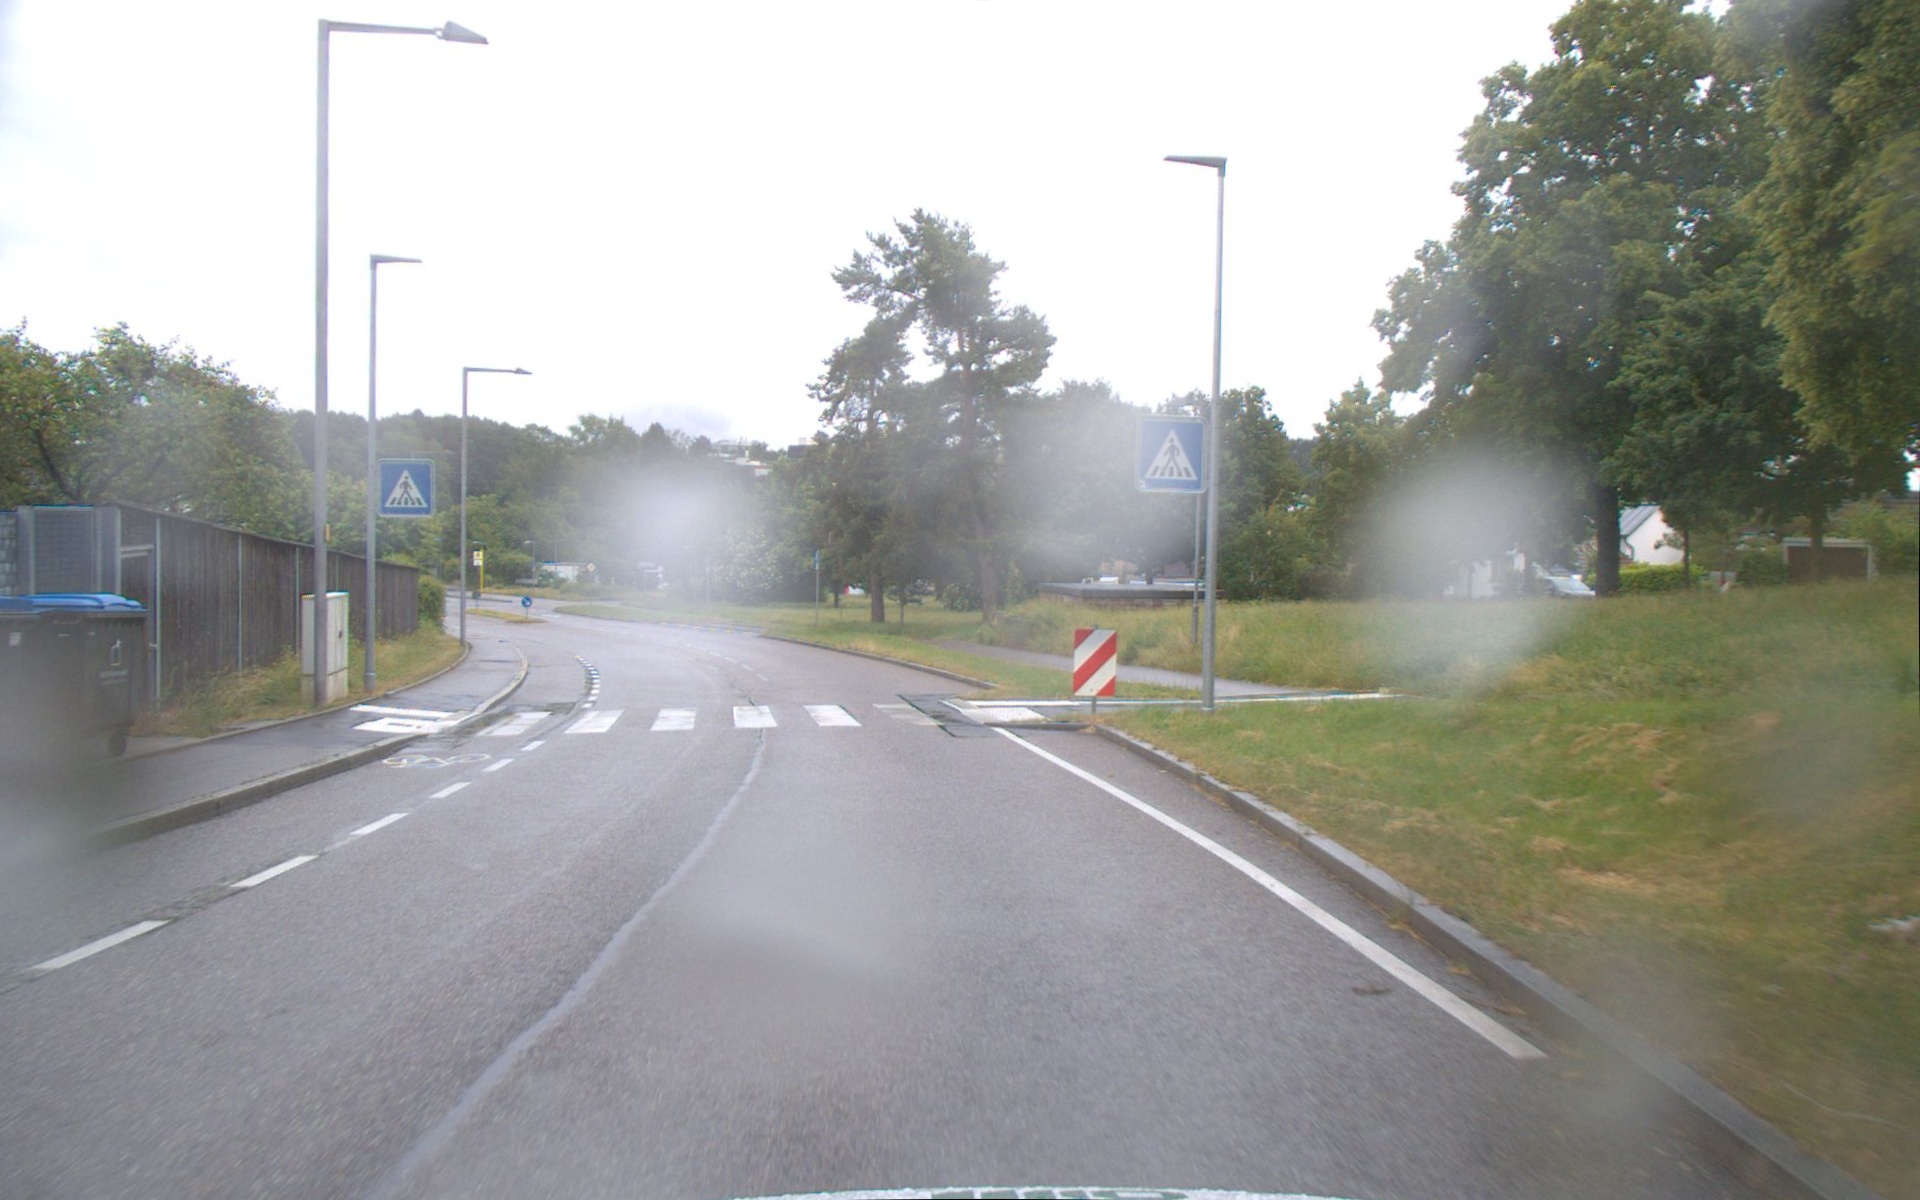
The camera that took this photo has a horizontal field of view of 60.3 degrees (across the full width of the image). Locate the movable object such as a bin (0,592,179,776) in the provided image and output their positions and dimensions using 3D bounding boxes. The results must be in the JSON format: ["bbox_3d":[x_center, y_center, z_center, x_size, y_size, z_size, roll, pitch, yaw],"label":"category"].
[{"bbox_3d":[-7.239,0.647,13.454,1.109,1.345,1.361,4,0,-4],"label":"movable object such as a bin"}]

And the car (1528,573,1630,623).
[{"bbox_3d":[21.943,-0.104,58.753,1.791,1.681,3.995,0,1,-7],"label":"car"}]

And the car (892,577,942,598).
[{"bbox_3d":[-4.149,-1.244,159.811,4.459,1.780,1.909,-3,0,31],"label":"car"}]

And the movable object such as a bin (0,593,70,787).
[{"bbox_3d":[-7.271,0.616,11.767,1.109,1.324,1.397,3,0,-4],"label":"movable object such as a bin"}]
